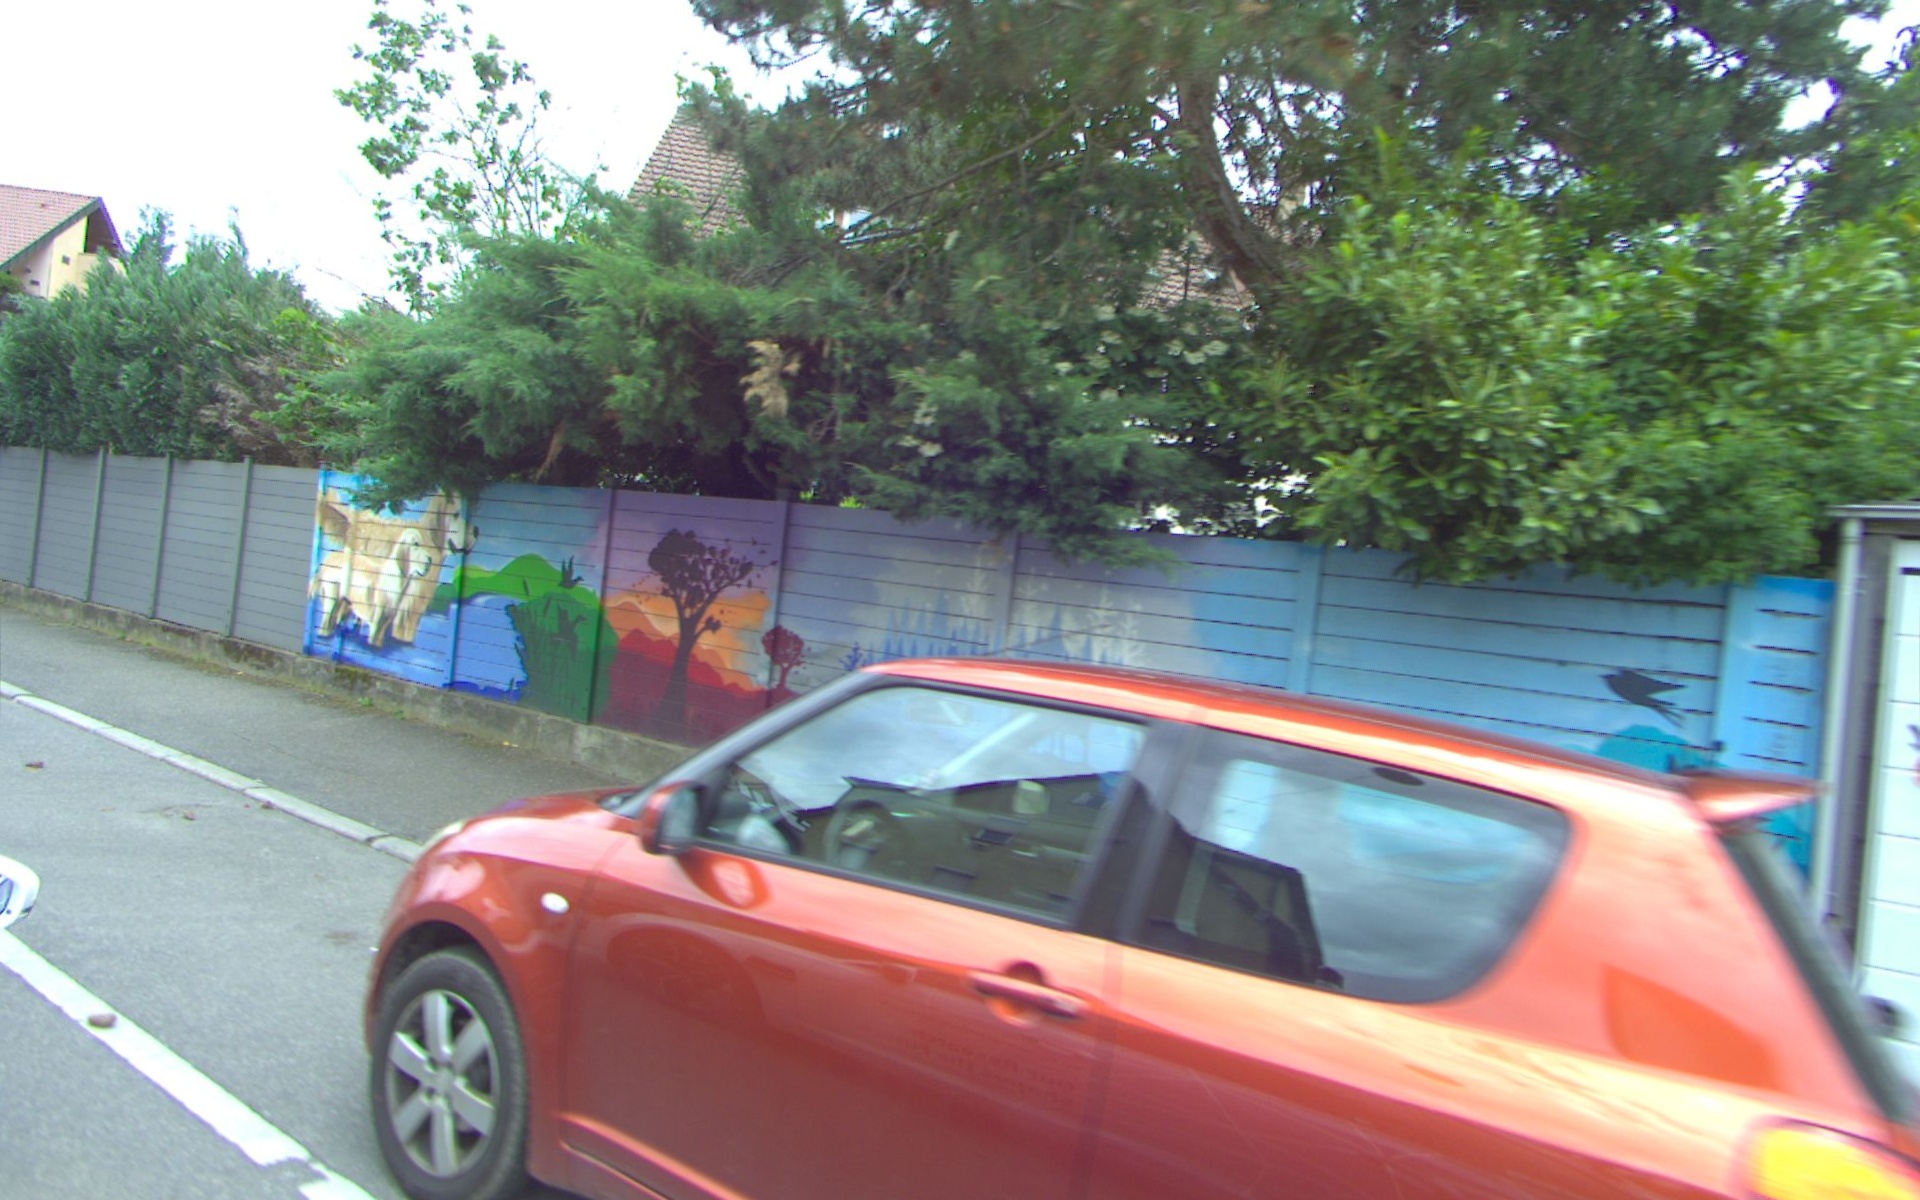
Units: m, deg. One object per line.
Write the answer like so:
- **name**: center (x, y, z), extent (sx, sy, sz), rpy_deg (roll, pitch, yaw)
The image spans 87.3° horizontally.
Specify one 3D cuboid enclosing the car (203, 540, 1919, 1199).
- **car**: center (0.055, 0.845, 2.635), extent (3.933, 1.468, 1.763), rpy_deg (7, -3, 31)
